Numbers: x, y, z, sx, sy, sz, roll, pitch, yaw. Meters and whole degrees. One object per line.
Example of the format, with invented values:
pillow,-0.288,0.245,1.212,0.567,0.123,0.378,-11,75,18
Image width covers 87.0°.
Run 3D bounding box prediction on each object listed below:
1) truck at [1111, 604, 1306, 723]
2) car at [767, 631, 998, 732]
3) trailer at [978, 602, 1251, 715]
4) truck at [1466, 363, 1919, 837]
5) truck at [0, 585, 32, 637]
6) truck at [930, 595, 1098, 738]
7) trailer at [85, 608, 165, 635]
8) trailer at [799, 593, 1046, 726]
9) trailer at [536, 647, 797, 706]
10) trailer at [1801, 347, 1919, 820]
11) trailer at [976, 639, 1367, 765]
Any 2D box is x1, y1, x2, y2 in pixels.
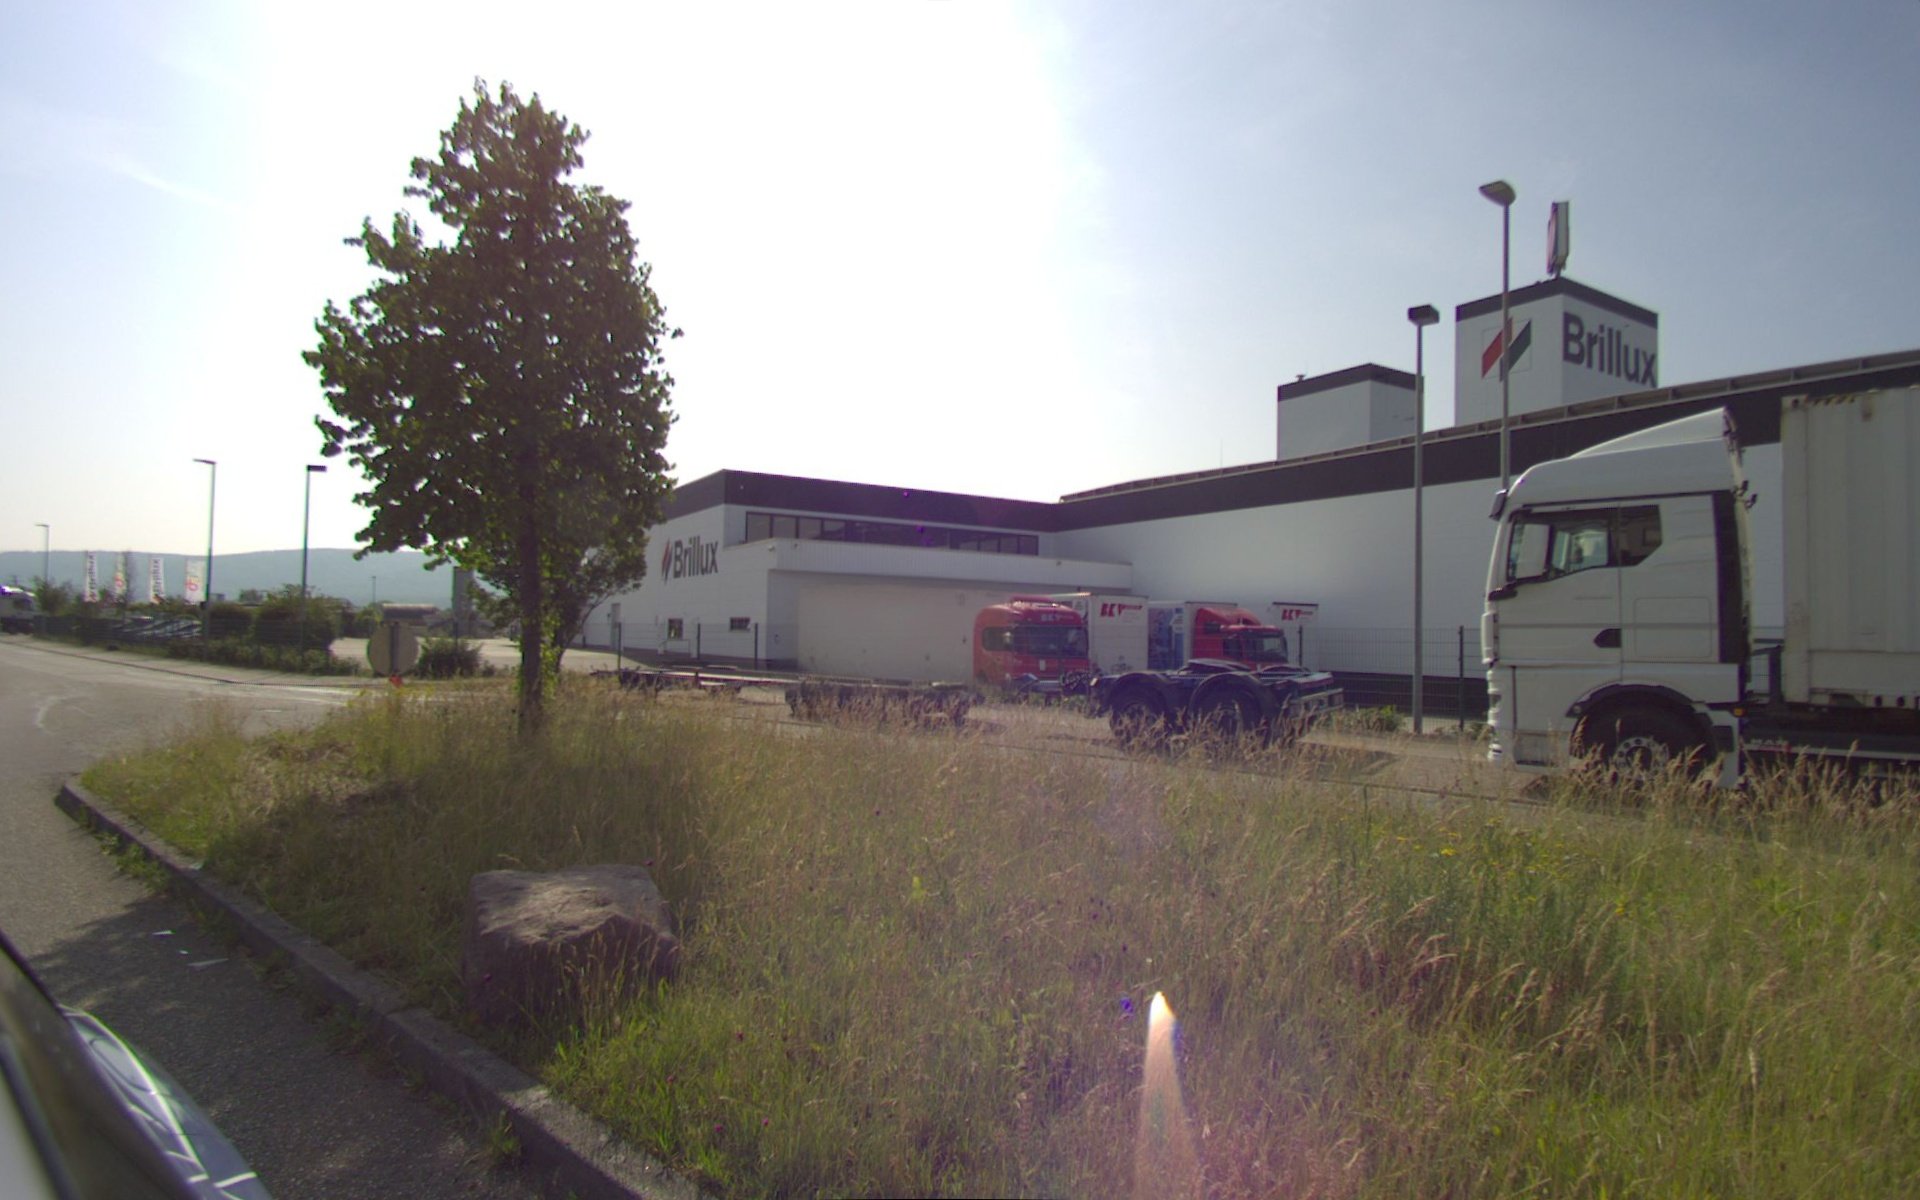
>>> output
truck,9.028,2.148,37.590,2.727,3.900,7.033,0,0,-33
car,-1.518,1.397,18.584,4.334,1.573,1.678,-1,0,42
trailer,5.806,2.120,42.637,2.815,4.037,14.050,0,-1,-33
truck,7.860,-0.009,10.353,4.294,3.951,2.681,0,0,41
truck,-81.574,0.866,84.720,6.051,4.239,3.376,0,0,20
truck,1.584,1.891,32.070,2.479,4.102,5.559,0,0,-33
trailer,-89.970,2.352,109.192,6.222,2.624,2.861,4,-4,-35
trailer,-2.032,1.801,37.678,2.448,4.072,13.928,0,0,-33
trailer,-6.916,1.659,23.284,6.705,0.932,2.521,-1,0,41
trailer,11.160,-0.119,7.476,7.571,3.951,2.671,0,0,41
trailer,2.991,1.339,15.034,5.076,1.464,2.652,-1,-2,43
